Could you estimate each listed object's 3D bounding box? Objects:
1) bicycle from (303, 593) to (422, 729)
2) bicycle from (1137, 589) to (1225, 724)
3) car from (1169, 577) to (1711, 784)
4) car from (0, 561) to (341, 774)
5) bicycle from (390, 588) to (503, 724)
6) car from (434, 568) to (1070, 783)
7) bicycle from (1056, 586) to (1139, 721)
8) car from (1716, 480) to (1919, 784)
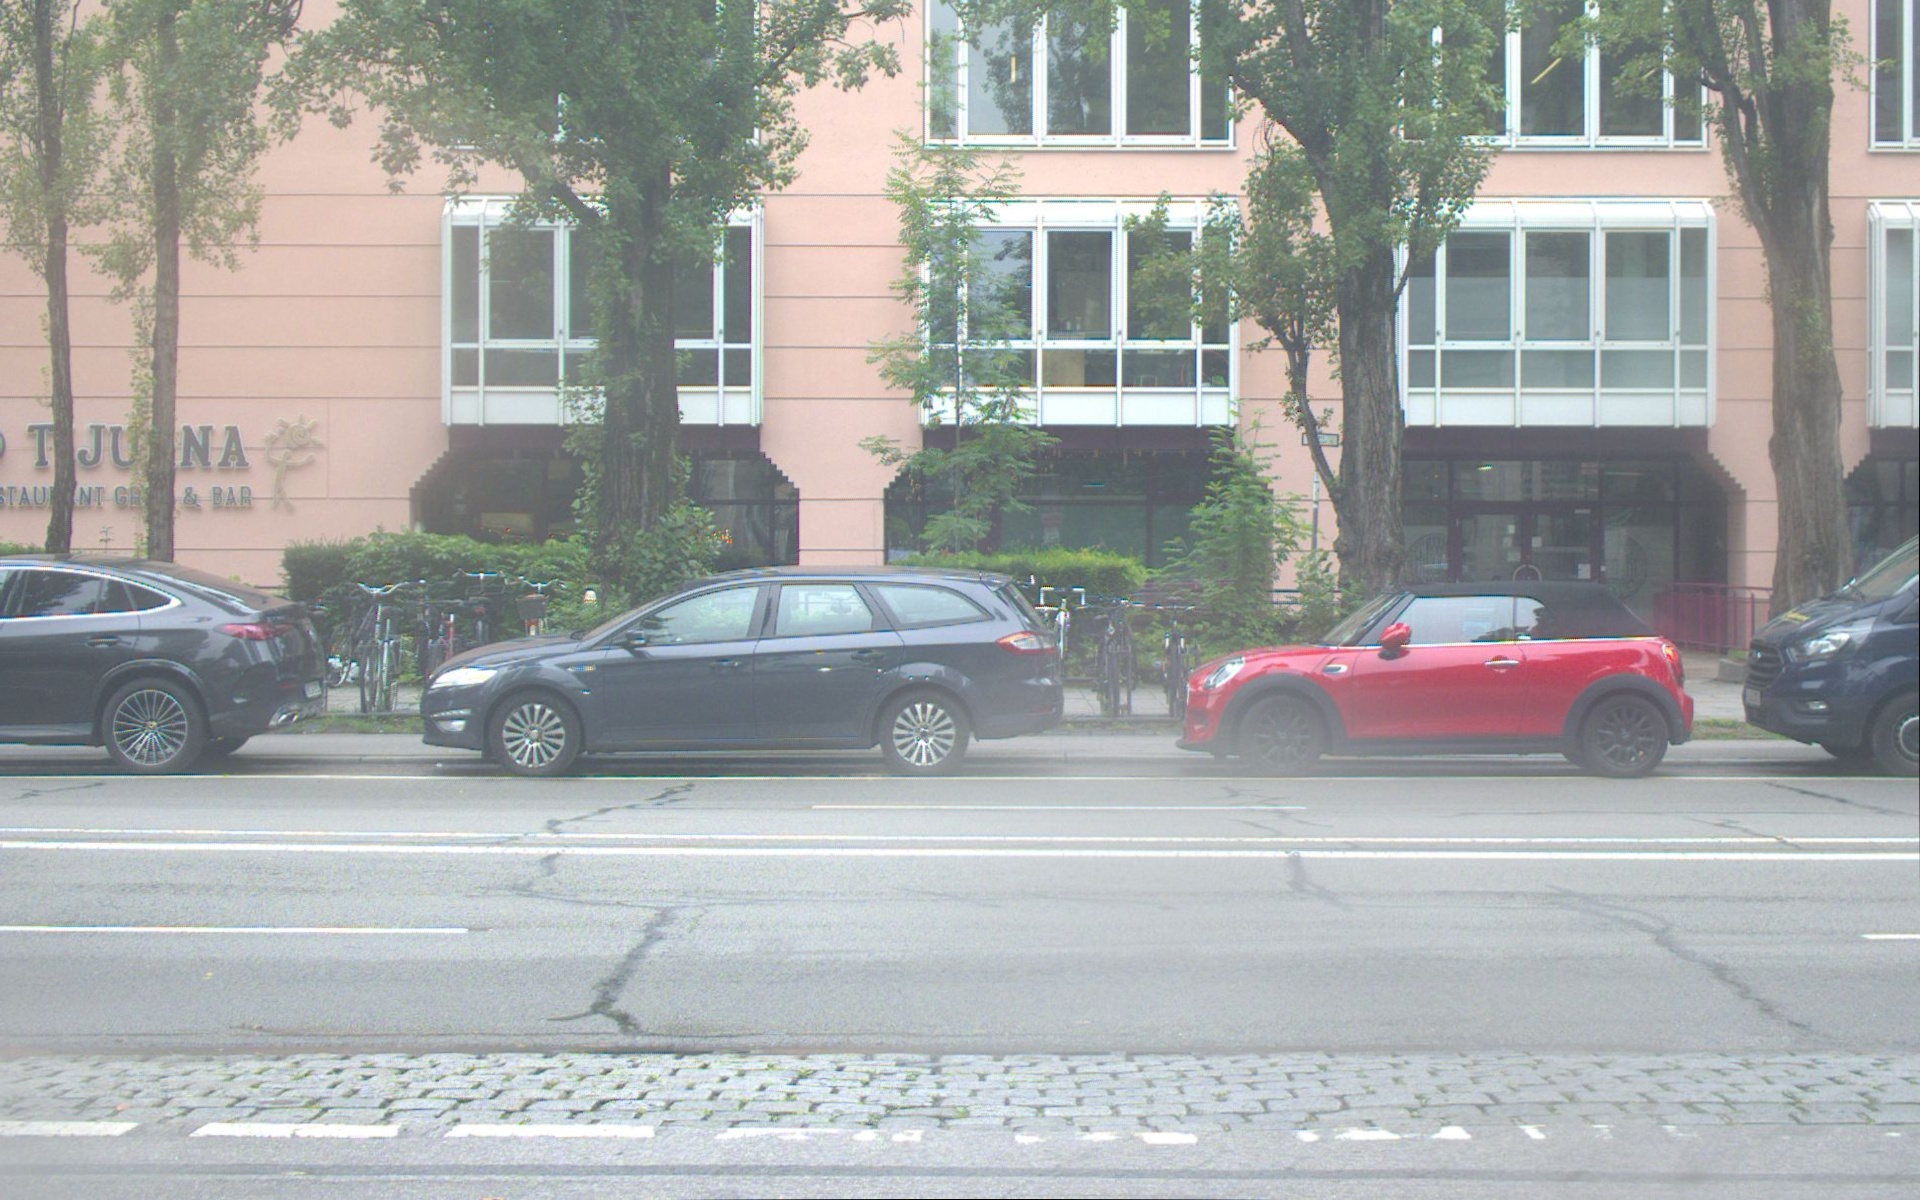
[{"bbox_3d":[-5.227,0.514,30.178,0.674,1.120,1.989,0,1,1],"label":"bicycle"},{"bbox_3d":[1.921,0.479,30.089,0.674,1.120,1.742,0,1,1],"label":"bicycle"},{"bbox_3d":[3.506,0.574,25.647,3.861,1.444,1.678,0,1,3],"label":"car"},{"bbox_3d":[-7.073,0.479,25.892,4.499,1.523,1.794,0,1,0],"label":"car"},{"bbox_3d":[-4.484,0.472,30.144,0.674,1.120,1.989,0,1,1],"label":"bicycle"},{"bbox_3d":[-1.508,0.538,25.849,4.608,1.523,1.794,0,1,0],"label":"car"},{"bbox_3d":[1.194,0.455,30.125,0.674,1.120,1.742,0,1,1],"label":"bicycle"},{"bbox_3d":[8.652,0.223,25.830,5.479,2.189,2.024,0,1,0],"label":"car"}]
